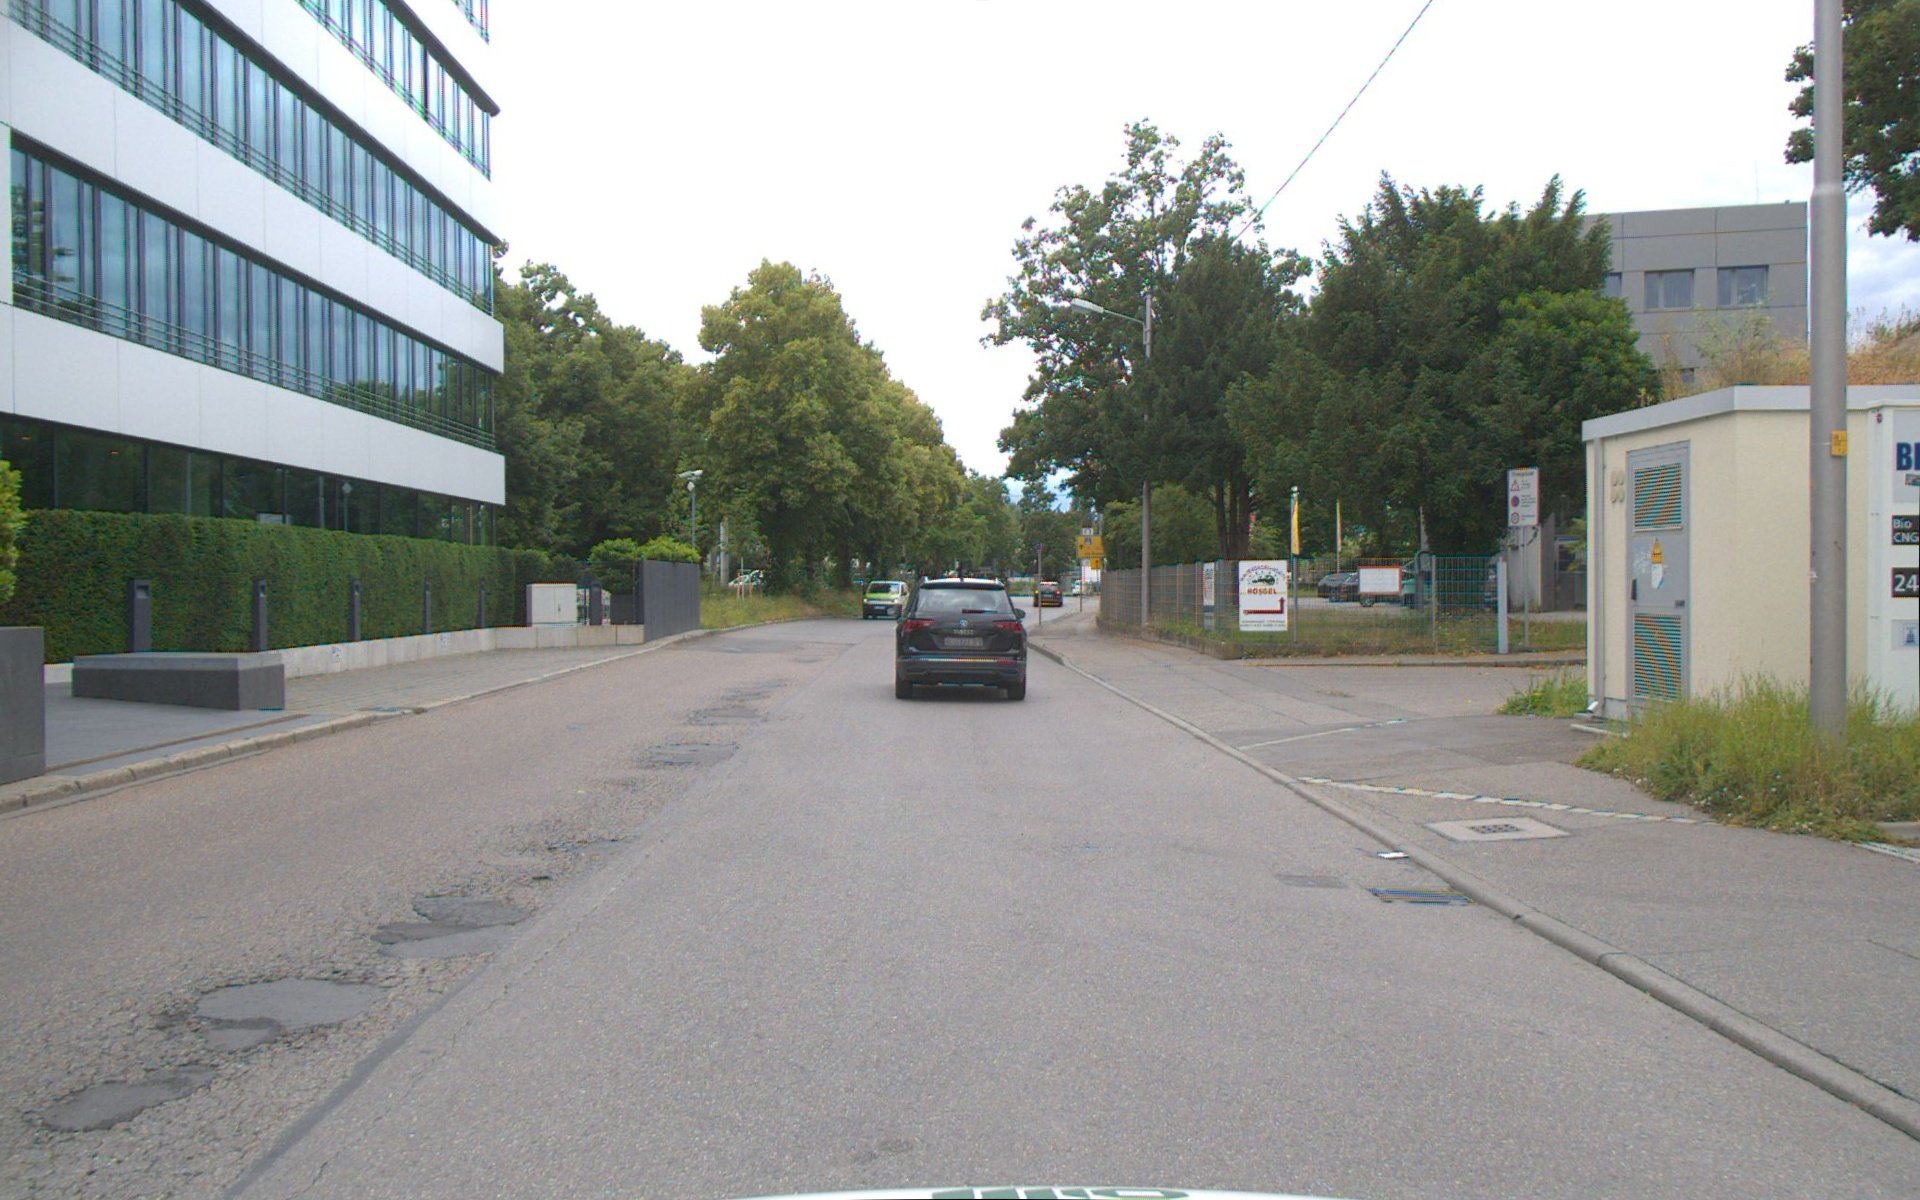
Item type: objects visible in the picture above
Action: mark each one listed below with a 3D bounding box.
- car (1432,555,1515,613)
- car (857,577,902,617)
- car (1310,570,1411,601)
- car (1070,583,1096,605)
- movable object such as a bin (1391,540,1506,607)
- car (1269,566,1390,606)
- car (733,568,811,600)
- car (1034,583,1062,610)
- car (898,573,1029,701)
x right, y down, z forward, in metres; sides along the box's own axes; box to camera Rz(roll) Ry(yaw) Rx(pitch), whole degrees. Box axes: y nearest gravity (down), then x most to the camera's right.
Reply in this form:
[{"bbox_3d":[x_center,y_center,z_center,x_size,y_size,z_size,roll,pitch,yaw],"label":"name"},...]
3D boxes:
[{"bbox_3d":[15.868,-0.529,51.272,1.951,1.594,4.446,-3,1,12],"label":"car"},{"bbox_3d":[-3.723,-0.137,76.970,1.770,1.795,4.206,1,0,1],"label":"car"},{"bbox_3d":[20.997,-0.764,86.793,4.762,1.561,2.016,0,1,36],"label":"car"},{"bbox_3d":[10.714,-0.548,143.712,1.951,1.817,4.004,1,0,9],"label":"car"},{"bbox_3d":[18.132,-0.974,61.586,3.901,2.345,1.954,-1,0,11],"label":"movable object such as a bin"},{"bbox_3d":[15.283,-0.565,68.565,1.983,1.499,4.621,-1,0,-42],"label":"car"},{"bbox_3d":[-15.063,-1.311,132.751,5.945,2.429,2.395,-1,1,1],"label":"car"},{"bbox_3d":[5.431,-0.237,101.910,1.624,1.601,3.830,-1,0,2],"label":"car"},{"bbox_3d":[0.076,0.484,23.308,1.703,1.646,3.641,0,0,1],"label":"car"}]
